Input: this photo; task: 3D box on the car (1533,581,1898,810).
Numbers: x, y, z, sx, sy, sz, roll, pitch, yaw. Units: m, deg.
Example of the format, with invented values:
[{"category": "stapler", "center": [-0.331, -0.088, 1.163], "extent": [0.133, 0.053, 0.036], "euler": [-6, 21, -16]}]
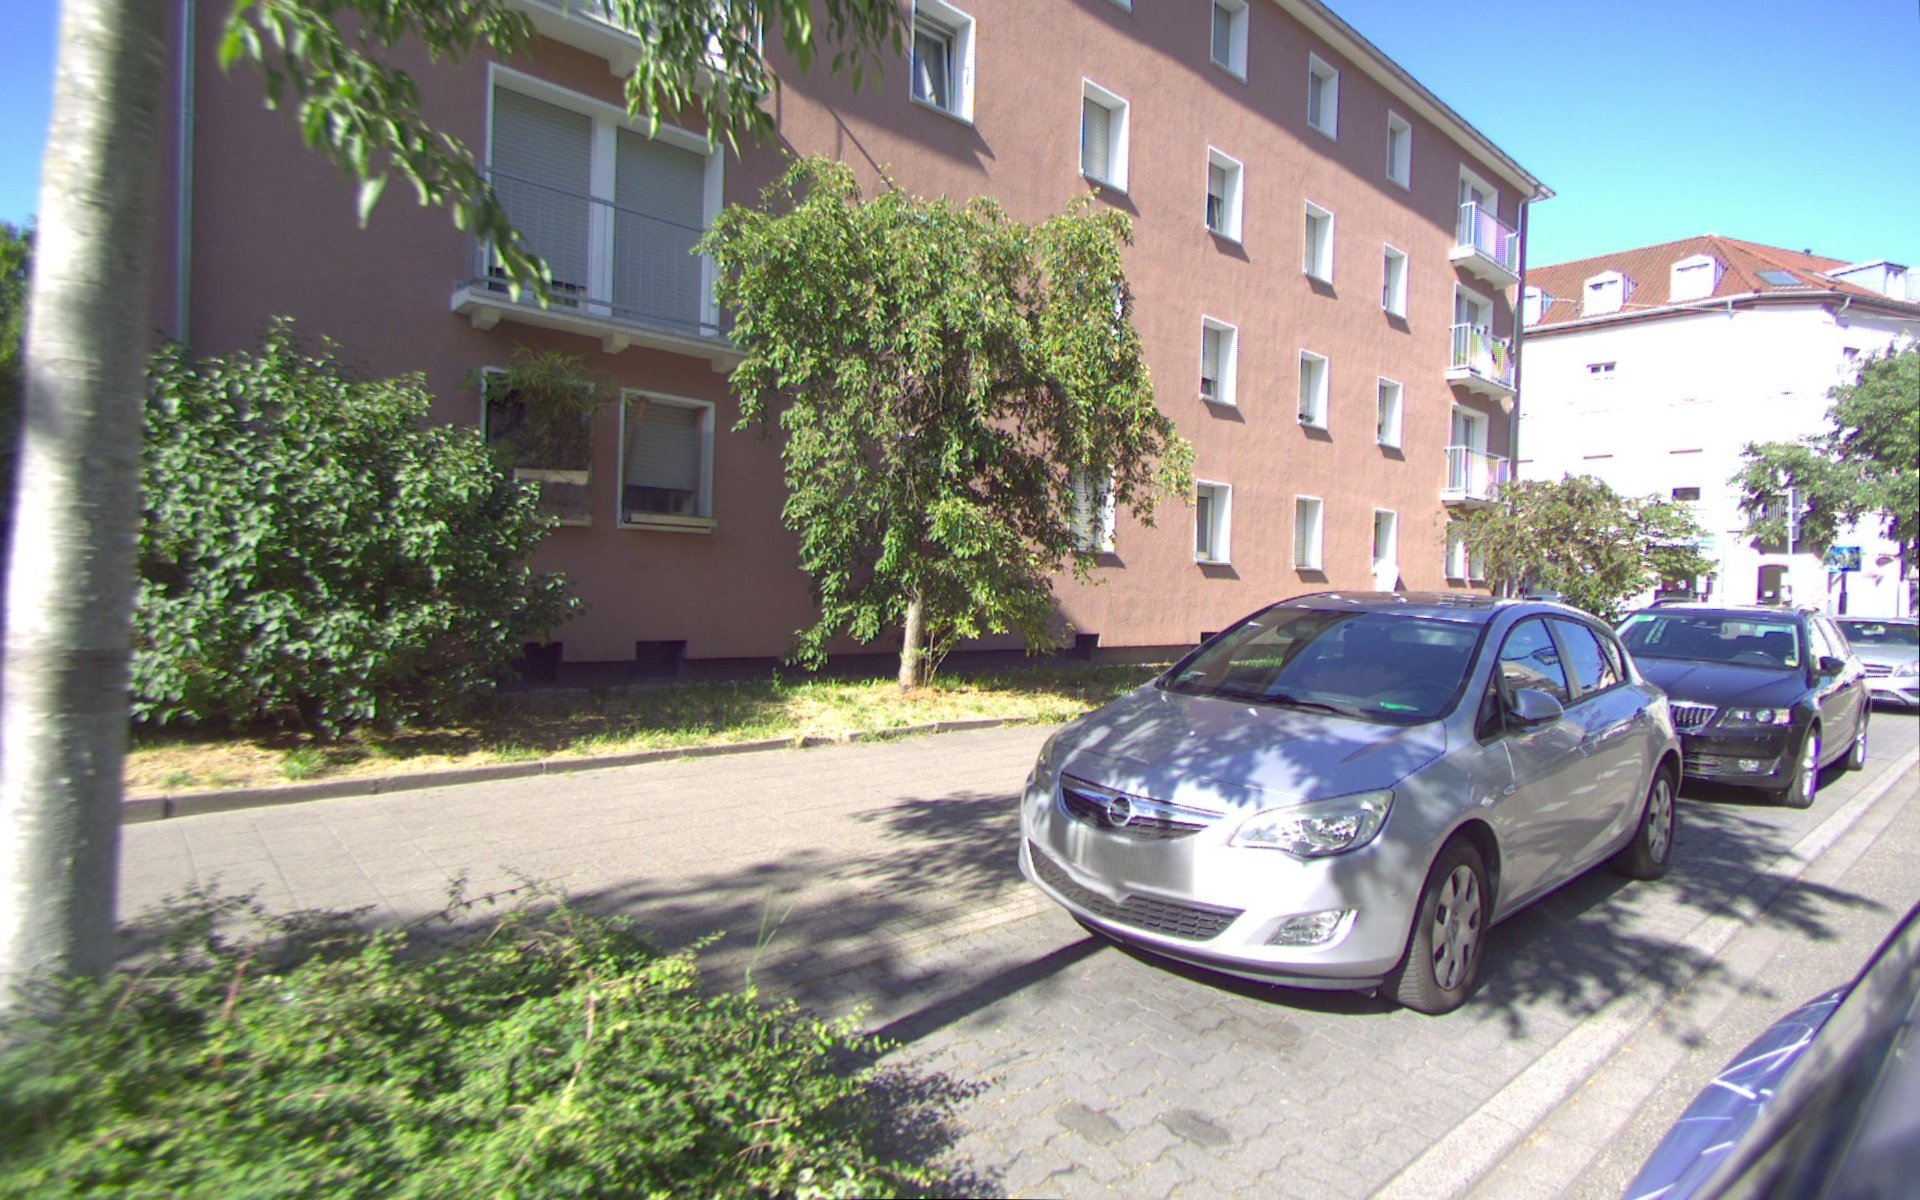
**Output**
[{"category": "car", "center": [6.688, 0.650, 8.774], "extent": [4.236, 1.501, 1.661], "euler": [1, 1, -41]}]

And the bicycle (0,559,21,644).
[{"category": "bicycle", "center": [-13.863, 0.006, 13.549], "extent": [1.847, 1.166, 0.578], "euler": [1, 1, -40]}]

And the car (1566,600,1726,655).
[{"category": "car", "center": [20.315, 0.778, 30.078], "extent": [1.540, 1.420, 3.646], "euler": [1, 1, -41]}]

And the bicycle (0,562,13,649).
[{"category": "bicycle", "center": [-13.149, 0.059, 12.742], "extent": [1.740, 1.120, 0.567], "euler": [1, 1, -40]}]

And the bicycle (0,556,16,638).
[{"category": "bicycle", "center": [-14.476, -0.054, 14.130], "extent": [1.847, 1.166, 0.578], "euler": [1, 1, -40]}]

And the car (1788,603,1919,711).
[{"category": "car", "center": [14.466, 0.817, 15.787], "extent": [3.929, 1.446, 1.735], "euler": [1, 1, -41]}]

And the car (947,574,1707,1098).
[{"category": "car", "center": [2.000, 0.667, 4.868], "extent": [3.930, 1.472, 1.719], "euler": [0, 2, -41]}]

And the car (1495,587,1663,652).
[{"category": "car", "center": [21.949, 0.644, 36.024], "extent": [4.745, 2.039, 1.968], "euler": [3, 1, 45]}]
